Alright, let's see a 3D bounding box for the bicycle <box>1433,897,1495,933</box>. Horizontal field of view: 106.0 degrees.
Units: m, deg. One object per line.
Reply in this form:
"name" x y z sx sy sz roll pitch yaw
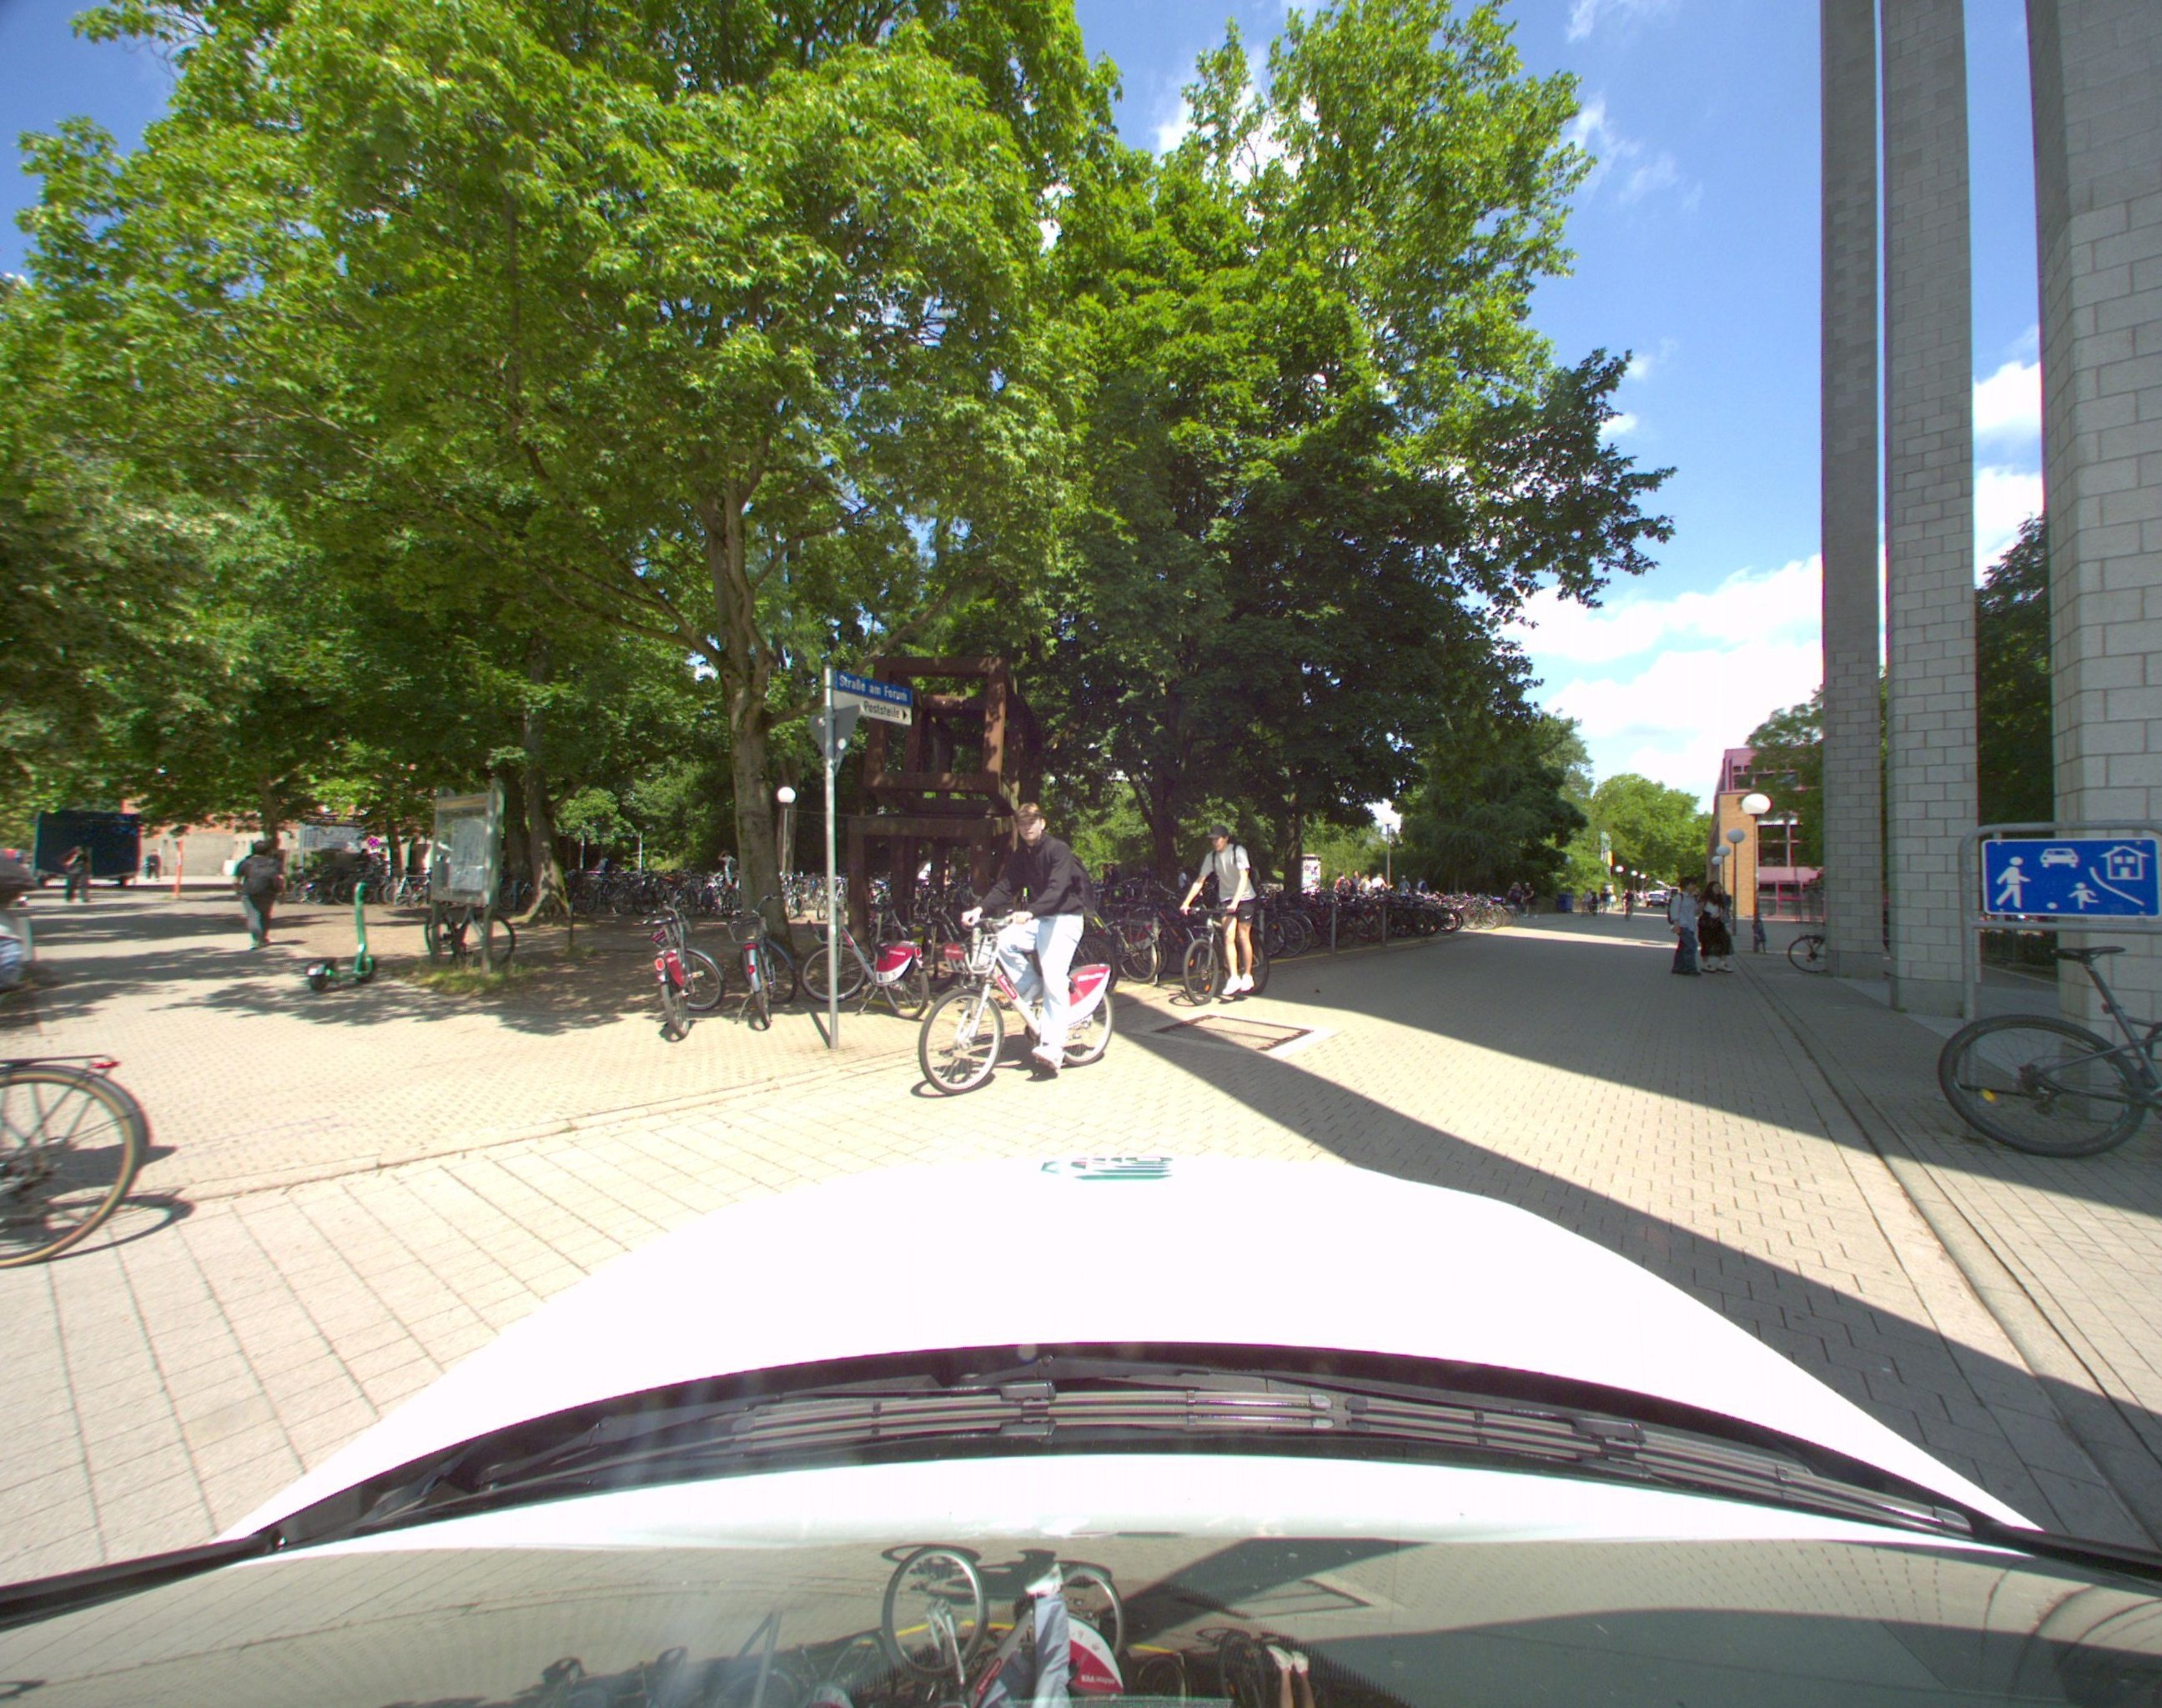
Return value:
"bicycle" 12.050 1.916 25.619 1.687 1.019 0.474 3 -2 2

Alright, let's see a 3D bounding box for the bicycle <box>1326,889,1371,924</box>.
"bicycle" 9.134 1.776 27.870 0.474 1.084 1.687 4 -2 -21

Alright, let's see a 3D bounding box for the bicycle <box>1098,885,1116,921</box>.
"bicycle" 0.822 1.544 26.093 0.471 1.084 1.699 3 -2 0

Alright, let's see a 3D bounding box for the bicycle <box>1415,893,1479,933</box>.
"bicycle" 11.104 1.795 24.747 1.683 1.108 0.475 2 -2 10

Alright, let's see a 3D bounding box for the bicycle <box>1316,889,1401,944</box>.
"bicycle" 6.300 1.407 18.511 1.718 1.126 0.500 1 -2 33

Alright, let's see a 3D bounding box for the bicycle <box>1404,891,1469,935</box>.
"bicycle" 10.348 1.708 23.733 1.678 1.188 0.477 2 -2 26

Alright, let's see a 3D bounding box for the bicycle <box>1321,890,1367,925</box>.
"bicycle" 8.804 1.772 27.347 0.474 1.084 1.687 3 -2 -21

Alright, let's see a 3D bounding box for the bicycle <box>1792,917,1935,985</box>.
"bicycle" 13.499 1.646 14.117 1.722 1.039 0.452 0 -2 33

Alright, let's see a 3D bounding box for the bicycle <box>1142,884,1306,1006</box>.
"bicycle" 1.632 0.972 9.072 1.897 1.172 0.795 5 -2 -44

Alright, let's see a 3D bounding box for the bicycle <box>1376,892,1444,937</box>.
"bicycle" 8.986 1.644 22.265 1.678 1.108 0.477 2 -2 26

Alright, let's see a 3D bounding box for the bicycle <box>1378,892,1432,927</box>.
"bicycle" 11.104 1.902 27.925 0.476 1.084 1.680 4 -3 -39

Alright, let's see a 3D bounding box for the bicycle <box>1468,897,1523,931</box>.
"bicycle" 14.657 2.102 28.830 1.678 1.091 0.477 1 -2 31

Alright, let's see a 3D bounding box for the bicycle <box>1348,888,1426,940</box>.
"bicycle" 7.609 1.486 20.290 1.718 1.179 0.500 1 -3 37

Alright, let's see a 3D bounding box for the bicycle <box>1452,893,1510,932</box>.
"bicycle" 13.242 1.929 26.976 1.679 1.168 0.477 2 -2 25

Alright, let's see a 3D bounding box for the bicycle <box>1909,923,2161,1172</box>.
"bicycle" 5.598 0.969 4.114 1.862 1.164 0.609 -2 -3 32

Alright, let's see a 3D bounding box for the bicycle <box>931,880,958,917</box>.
"bicycle" -4.286 1.385 25.623 0.471 1.084 1.858 3 -2 0

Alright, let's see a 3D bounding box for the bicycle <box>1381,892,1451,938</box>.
"bicycle" 8.973 1.612 21.804 1.679 1.108 0.477 2 -2 25

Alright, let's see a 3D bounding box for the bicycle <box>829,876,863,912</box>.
"bicycle" -7.421 1.255 25.758 0.471 1.084 1.858 3 -2 0

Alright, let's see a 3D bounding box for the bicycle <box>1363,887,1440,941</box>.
"bicycle" 8.103 1.503 20.623 1.718 1.236 0.500 2 -2 30

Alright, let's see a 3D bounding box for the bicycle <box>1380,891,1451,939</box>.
"bicycle" 8.776 1.592 21.376 1.679 1.145 0.477 2 -2 25

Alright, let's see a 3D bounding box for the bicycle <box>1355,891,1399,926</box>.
"bicycle" 10.105 1.842 27.851 0.474 1.084 1.689 3 -2 -17

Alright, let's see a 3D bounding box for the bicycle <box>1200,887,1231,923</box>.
"bicycle" 4.419 1.662 26.845 0.472 1.084 1.695 3 -2 -8

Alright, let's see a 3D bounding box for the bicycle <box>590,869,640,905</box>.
"bicycle" -15.088 1.062 26.400 0.471 1.084 1.858 3 -2 0

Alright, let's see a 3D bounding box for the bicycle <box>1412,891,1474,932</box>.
"bicycle" 11.187 1.779 25.208 1.683 1.157 0.475 2 -2 10

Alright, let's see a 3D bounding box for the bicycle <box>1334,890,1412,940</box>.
"bicycle" 7.094 1.472 19.809 1.719 1.108 0.500 2 -2 25

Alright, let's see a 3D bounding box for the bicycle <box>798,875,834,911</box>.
"bicycle" -8.401 1.239 25.886 0.471 1.084 1.858 3 -2 0

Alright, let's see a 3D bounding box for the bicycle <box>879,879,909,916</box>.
"bicycle" -5.851 1.341 25.560 0.471 1.084 1.858 3 -2 0

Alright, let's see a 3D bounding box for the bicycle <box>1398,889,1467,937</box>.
"bicycle" 9.703 1.608 22.480 1.678 1.199 0.540 2 -2 29

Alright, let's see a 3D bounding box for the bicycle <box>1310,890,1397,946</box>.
"bicycle" 5.994 1.382 17.960 1.718 1.108 0.500 1 -3 37

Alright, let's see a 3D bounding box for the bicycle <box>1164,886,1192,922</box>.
"bicycle" 3.185 1.629 26.831 0.472 1.084 1.695 3 -2 -8

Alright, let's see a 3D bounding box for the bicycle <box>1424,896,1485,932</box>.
"bicycle" 11.971 1.909 26.127 1.687 1.062 0.474 3 -2 2

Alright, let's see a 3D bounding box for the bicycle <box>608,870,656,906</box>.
"bicycle" -14.491 1.089 26.330 0.471 1.084 1.858 3 -2 0

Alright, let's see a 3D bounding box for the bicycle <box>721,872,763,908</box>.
"bicycle" -10.715 1.122 25.787 0.471 1.084 1.858 3 -2 0

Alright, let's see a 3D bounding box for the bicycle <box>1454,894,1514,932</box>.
"bicycle" 13.627 1.972 27.580 0.476 1.168 1.761 4 -3 -39

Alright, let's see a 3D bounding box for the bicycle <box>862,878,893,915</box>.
"bicycle" -6.376 1.323 25.598 0.471 1.084 1.858 3 -2 0

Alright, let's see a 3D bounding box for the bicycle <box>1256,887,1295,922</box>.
"bicycle" 6.506 1.675 27.302 0.473 1.084 1.690 3 -2 -17

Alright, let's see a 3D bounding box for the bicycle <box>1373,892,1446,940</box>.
"bicycle" 8.444 1.575 20.965 1.678 1.108 0.500 2 -2 27

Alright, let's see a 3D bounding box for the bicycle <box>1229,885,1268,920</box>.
"bicycle" 5.497 1.587 26.834 0.473 1.084 1.690 3 -2 -17

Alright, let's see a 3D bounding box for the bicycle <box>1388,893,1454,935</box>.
"bicycle" 9.785 1.716 23.462 1.678 1.108 0.569 2 -2 26

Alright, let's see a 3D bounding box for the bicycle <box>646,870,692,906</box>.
"bicycle" -13.287 1.087 26.343 0.471 1.084 1.858 3 -2 0

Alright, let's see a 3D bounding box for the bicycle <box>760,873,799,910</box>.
"bicycle" -9.512 1.170 25.741 0.471 1.084 1.858 3 -2 0

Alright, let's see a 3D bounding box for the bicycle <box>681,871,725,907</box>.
"bicycle" -12.005 1.101 25.931 0.471 1.084 1.858 3 -2 0

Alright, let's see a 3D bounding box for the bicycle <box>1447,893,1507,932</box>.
"bicycle" 12.892 1.897 26.558 1.680 1.168 0.476 2 -2 20

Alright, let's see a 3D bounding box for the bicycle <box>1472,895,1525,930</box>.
"bicycle" 14.962 2.083 29.194 1.678 1.159 0.477 2 -2 29

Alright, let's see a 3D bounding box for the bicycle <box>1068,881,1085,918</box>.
"bicycle" -0.125 1.422 25.775 0.471 1.084 1.699 3 -2 0

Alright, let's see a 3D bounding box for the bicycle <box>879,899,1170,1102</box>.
"bicycle" -0.327 0.906 5.583 1.895 1.140 0.667 3 -1 -38

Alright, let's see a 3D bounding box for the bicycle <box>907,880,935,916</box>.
"bicycle" -4.991 1.360 25.485 0.471 1.084 1.858 3 -2 0

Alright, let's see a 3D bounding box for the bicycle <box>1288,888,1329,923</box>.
"bicycle" 7.668 1.722 27.489 0.473 1.084 1.690 3 -2 -17

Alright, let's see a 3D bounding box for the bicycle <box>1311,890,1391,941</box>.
"bicycle" 6.377 1.444 19.275 1.723 1.108 0.499 2 -2 13

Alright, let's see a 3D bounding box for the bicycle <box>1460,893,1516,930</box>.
"bicycle" 14.126 1.986 28.279 1.678 1.168 0.477 1 -2 31

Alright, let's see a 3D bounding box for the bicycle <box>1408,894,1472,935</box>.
"bicycle" 10.659 1.781 24.160 1.678 1.108 0.586 2 -2 26

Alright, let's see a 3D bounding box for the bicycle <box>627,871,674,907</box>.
"bicycle" -13.939 1.127 26.439 0.471 1.084 1.858 3 -2 0

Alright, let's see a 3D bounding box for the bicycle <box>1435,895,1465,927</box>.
"bicycle" 13.204 2.028 29.086 0.502 1.084 1.710 1 -3 40

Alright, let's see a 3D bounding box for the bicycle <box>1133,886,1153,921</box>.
"bicycle" 1.994 1.590 26.421 0.471 1.084 1.699 3 -2 0

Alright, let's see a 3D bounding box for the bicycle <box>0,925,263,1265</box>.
"bicycle" -4.359 0.856 3.016 1.814 1.108 0.638 1 1 -12

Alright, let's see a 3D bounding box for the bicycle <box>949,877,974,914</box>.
"bicycle" -3.726 1.284 25.498 0.471 1.084 1.858 3 -2 0
